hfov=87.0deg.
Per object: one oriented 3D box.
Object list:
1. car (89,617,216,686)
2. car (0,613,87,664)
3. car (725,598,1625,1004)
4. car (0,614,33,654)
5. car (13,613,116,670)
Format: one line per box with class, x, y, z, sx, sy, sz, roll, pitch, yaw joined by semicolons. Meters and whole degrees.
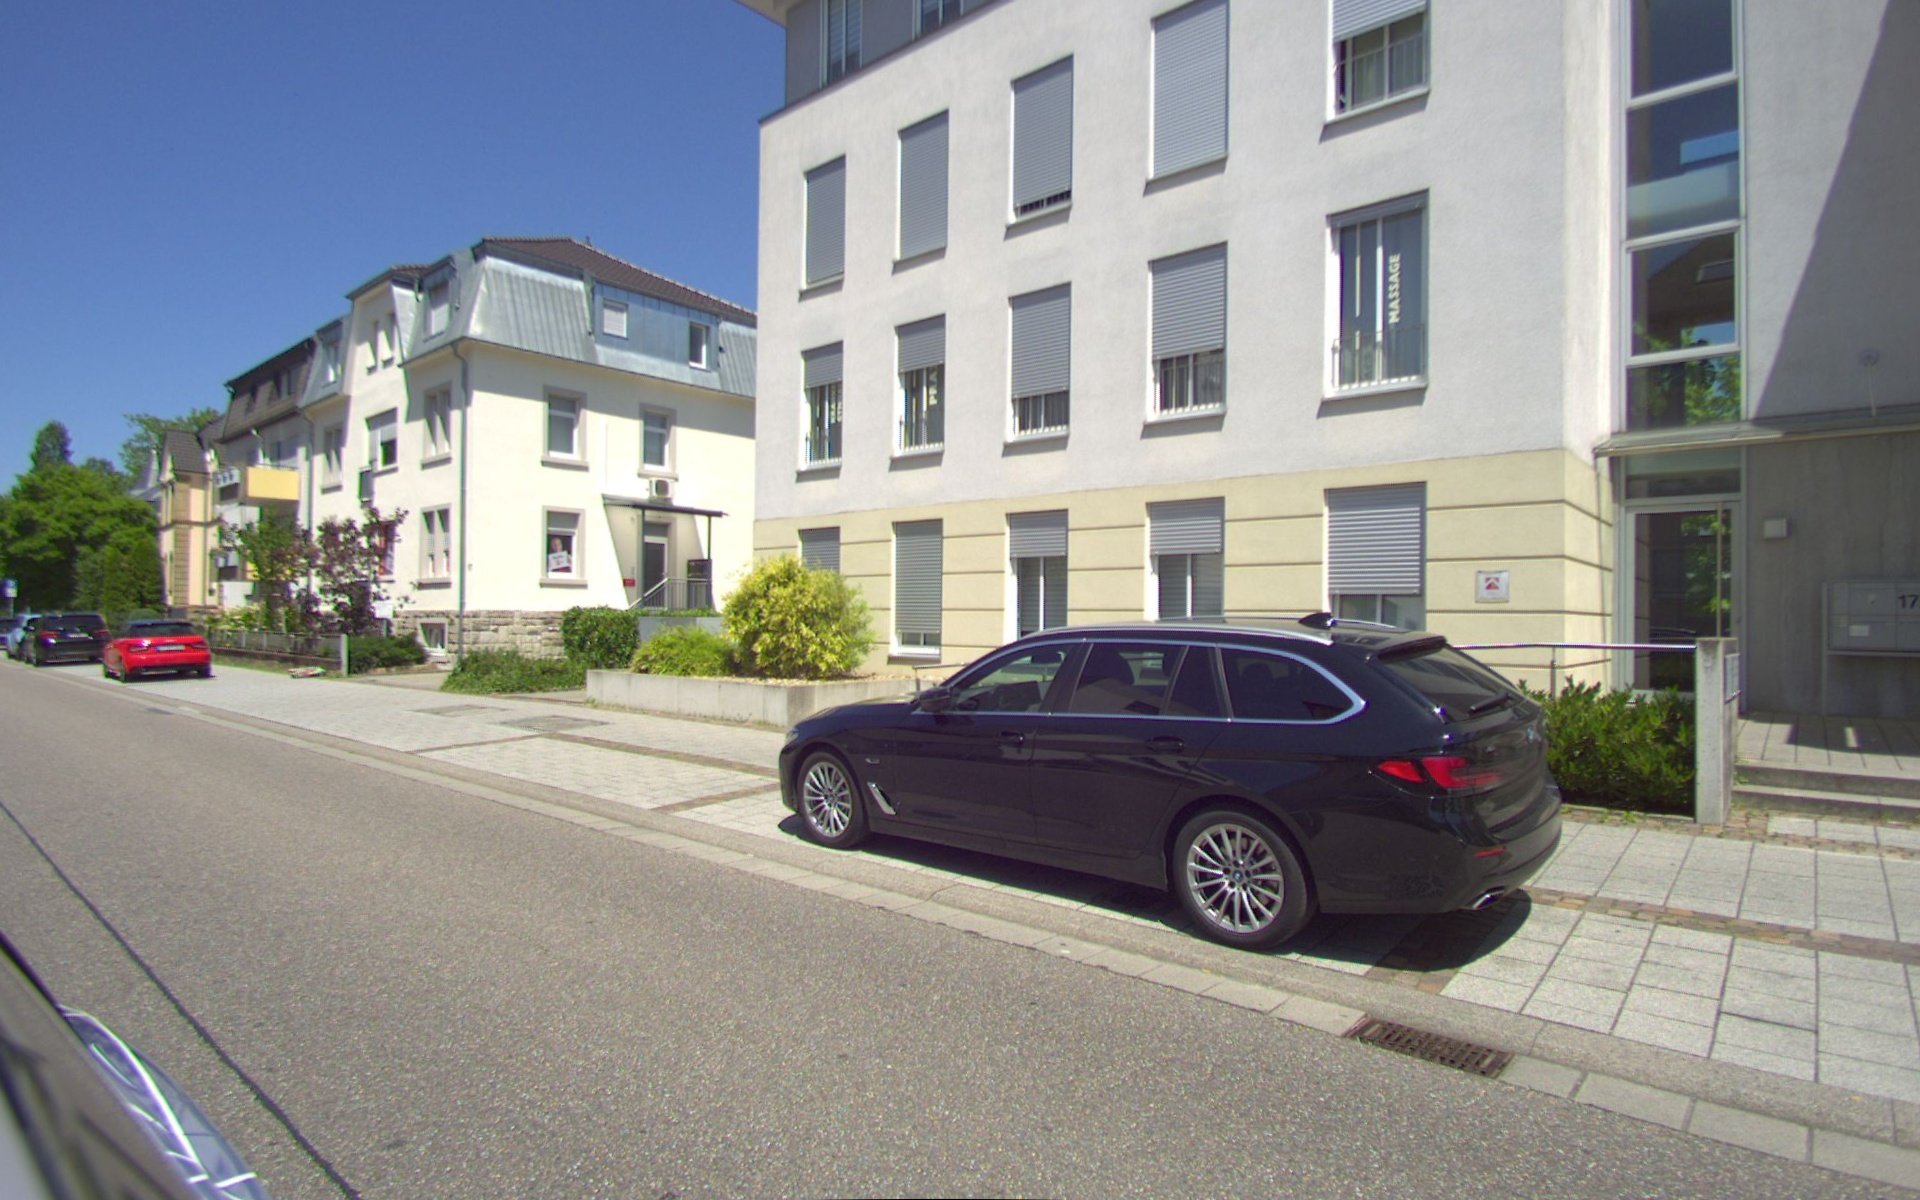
car;-19.645;1.183;24.553;4.259;1.463;1.714;-1;1;42
car;-32.315;1.313;35.594;4.286;1.598;1.900;-1;1;42
car;0.873;0.782;6.218;5.148;1.463;1.896;-1;1;42
car;-42.989;1.501;45.240;4.287;1.703;1.899;-1;1;43
car;-28.244;1.261;31.871;4.434;1.598;1.900;-1;1;42
